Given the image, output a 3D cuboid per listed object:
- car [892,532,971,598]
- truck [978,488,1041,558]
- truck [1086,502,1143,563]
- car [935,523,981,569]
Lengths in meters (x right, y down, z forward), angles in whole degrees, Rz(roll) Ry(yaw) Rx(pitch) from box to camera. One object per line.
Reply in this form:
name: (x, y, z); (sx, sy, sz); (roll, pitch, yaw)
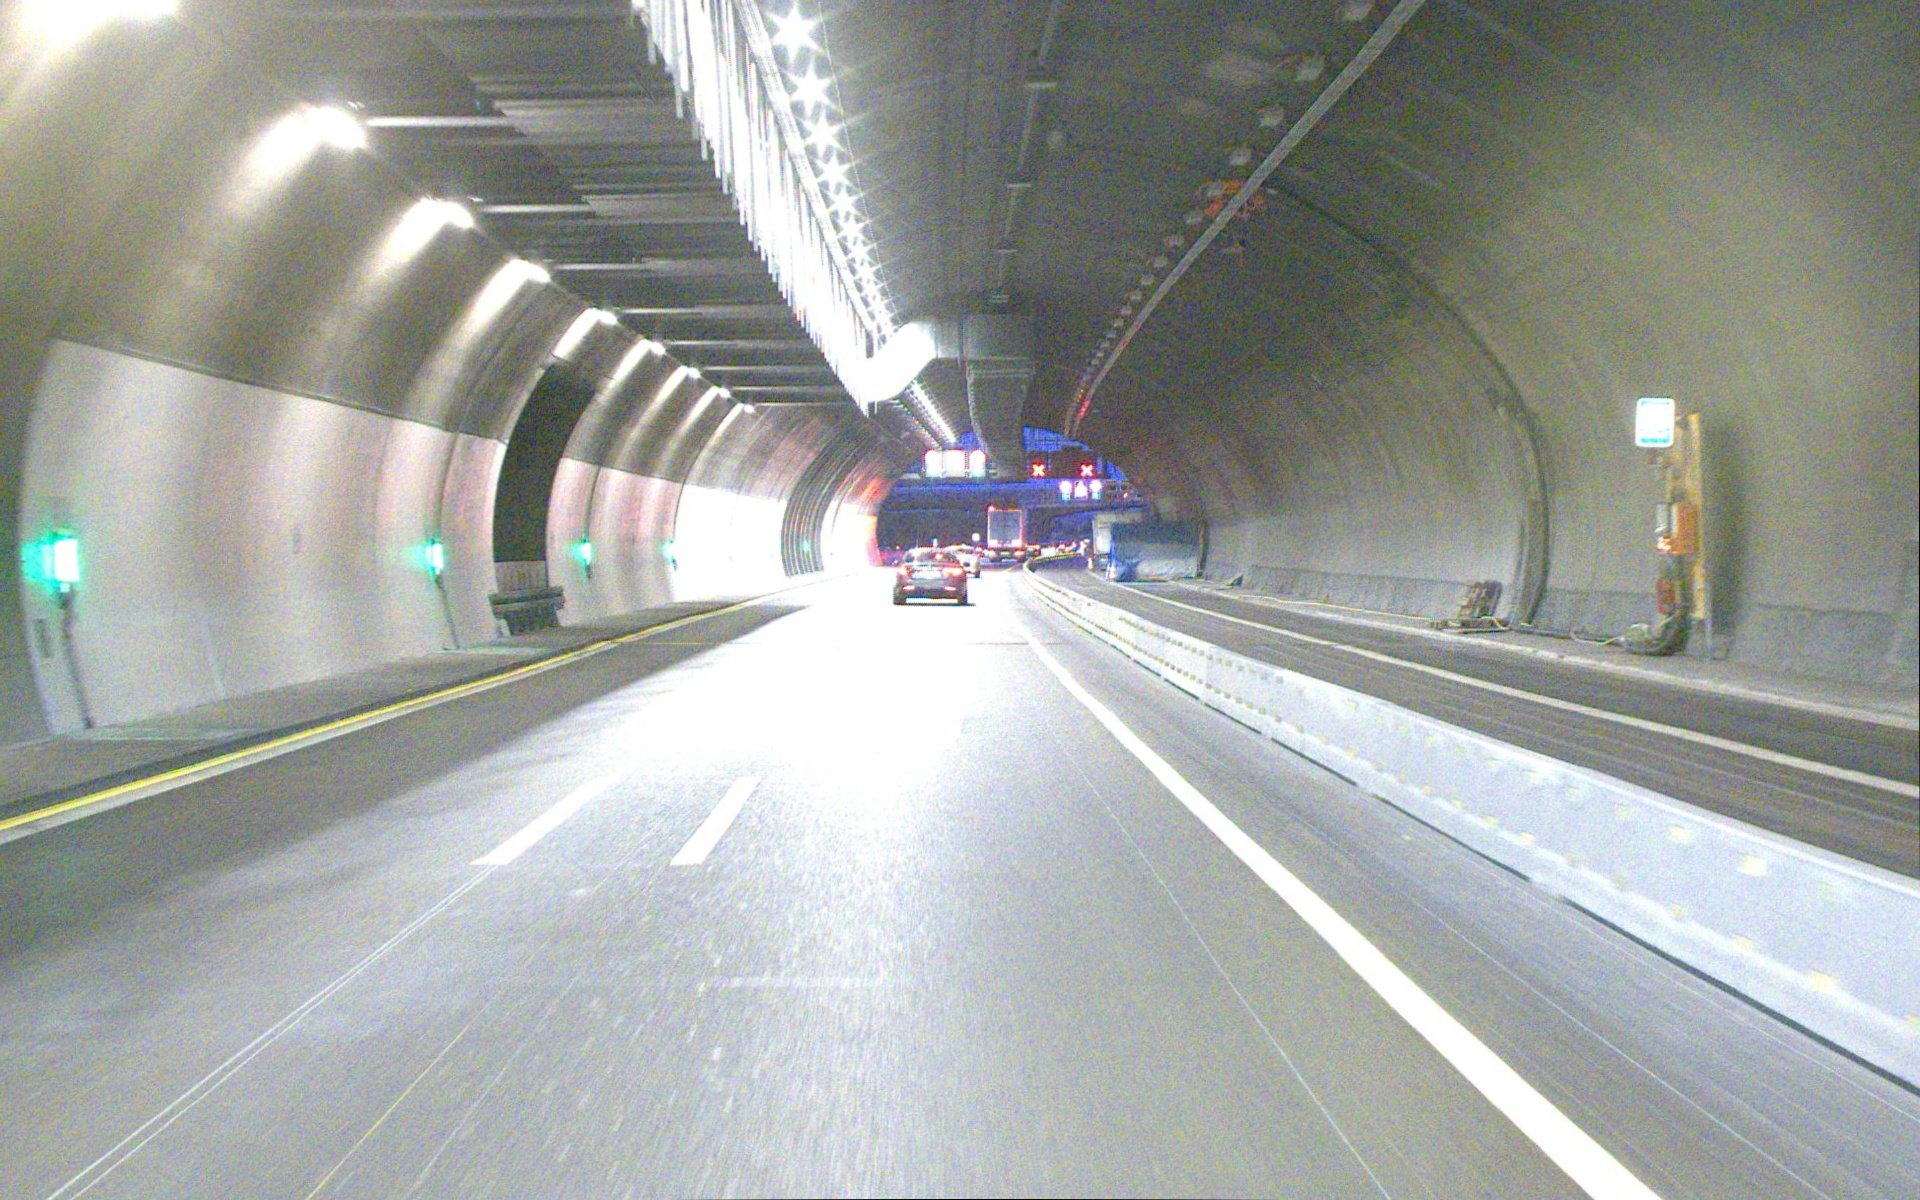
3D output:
car: (-0.752, -0.887, 87.302); (1.887, 1.601, 4.000); (1, 1, -2)
truck: (3.699, -5.671, 255.175); (4.546, 4.970, 9.599); (1, 1, 1)
truck: (8.533, -3.702, 190.779); (2.892, 3.261, 8.401); (1, 1, 1)
car: (-0.101, -2.423, 153.201); (1.993, 2.007, 4.000); (0, 1, -1)
